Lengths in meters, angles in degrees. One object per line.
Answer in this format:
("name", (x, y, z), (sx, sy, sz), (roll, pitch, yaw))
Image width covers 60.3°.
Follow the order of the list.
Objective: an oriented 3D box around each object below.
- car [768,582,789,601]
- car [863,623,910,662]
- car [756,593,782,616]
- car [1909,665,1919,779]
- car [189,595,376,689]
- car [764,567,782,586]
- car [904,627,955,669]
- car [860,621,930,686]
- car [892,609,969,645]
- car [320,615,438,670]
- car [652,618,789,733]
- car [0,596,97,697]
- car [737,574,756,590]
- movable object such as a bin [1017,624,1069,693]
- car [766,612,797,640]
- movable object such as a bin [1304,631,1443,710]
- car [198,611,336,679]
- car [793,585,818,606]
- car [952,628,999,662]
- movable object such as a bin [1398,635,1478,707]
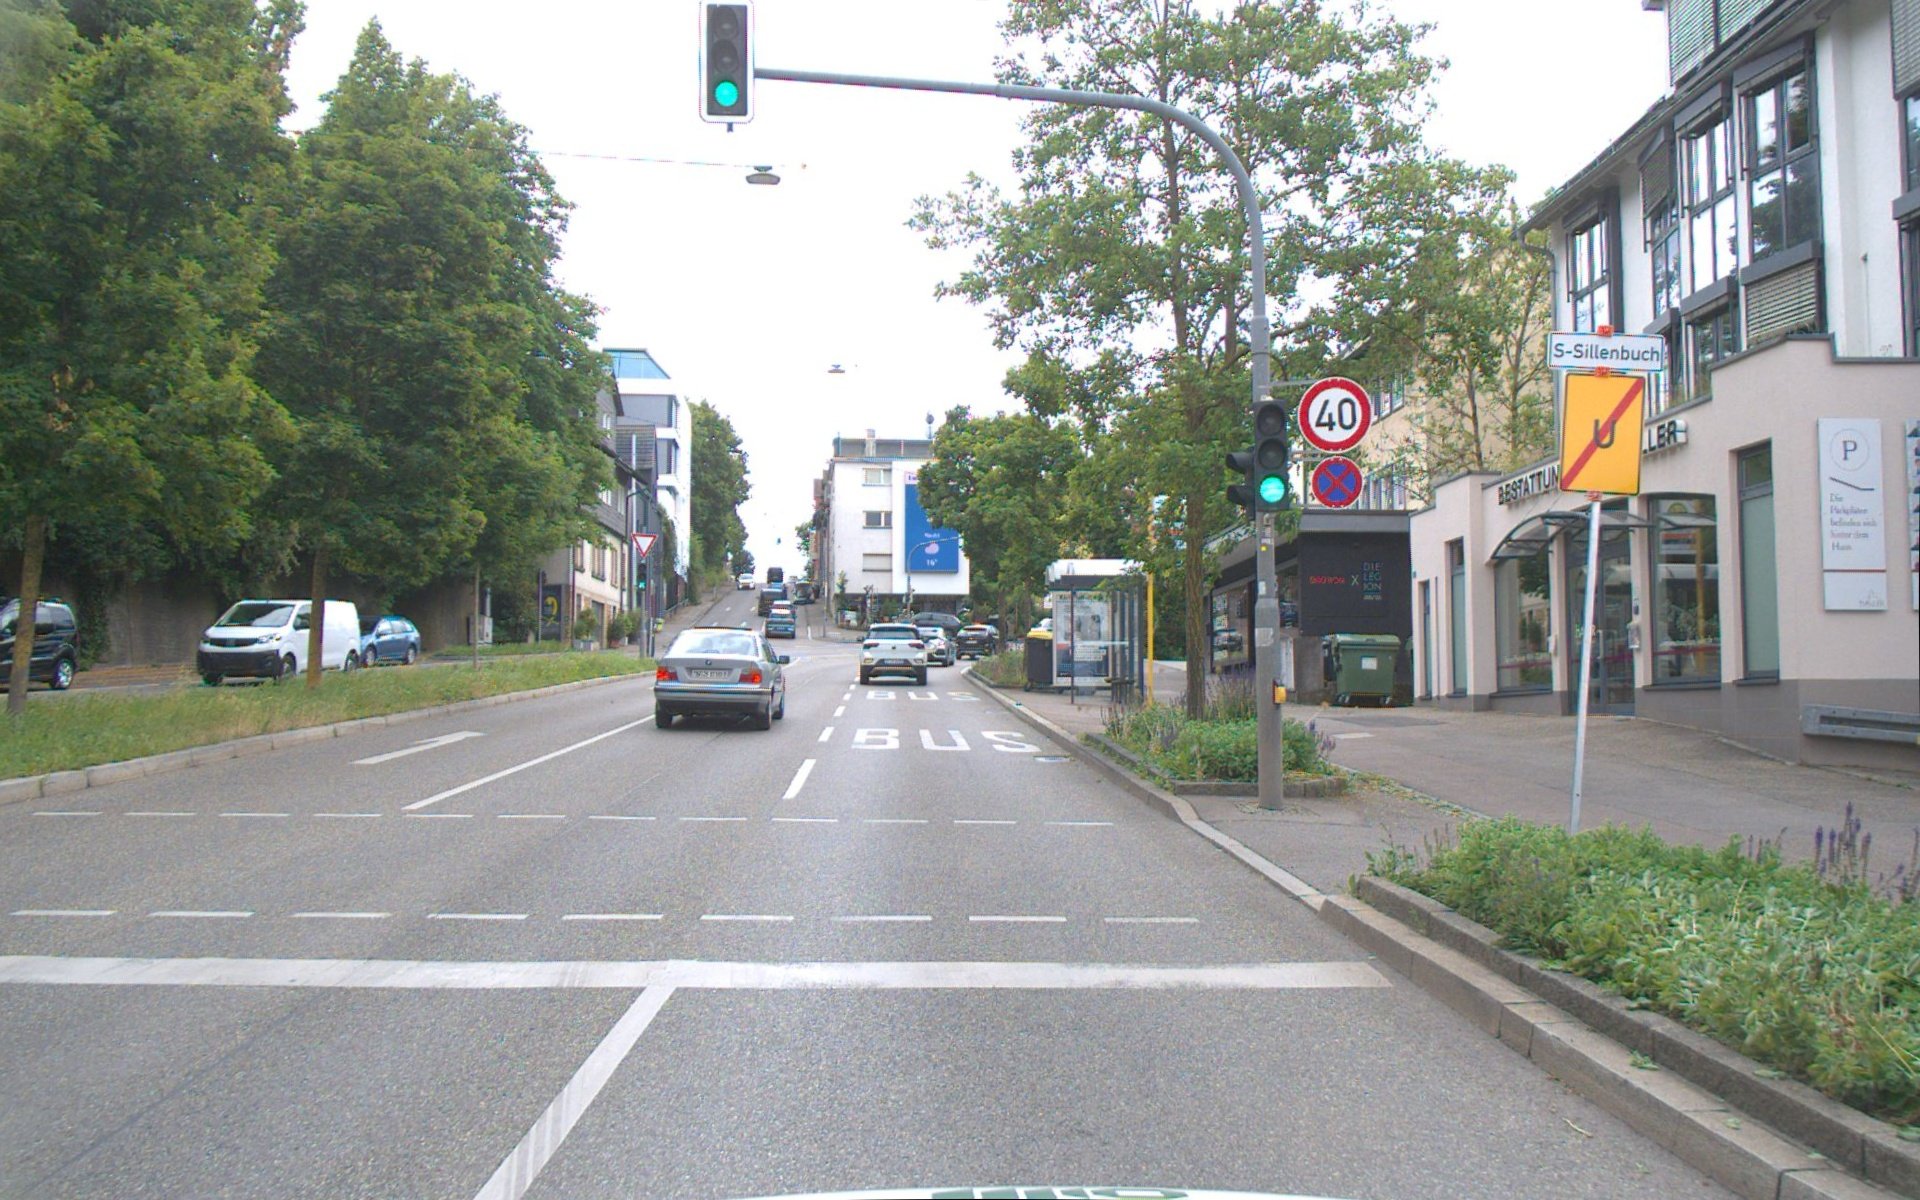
("car", (-16.215, -0.761, 147.851), (1.745, 1.607, 3.995), (1, -1, -6))
("car", (-3.154, 1.806, 71.402), (1.743, 1.607, 4.000), (1, -1, 1))
("car", (-13.858, 0.322, 120.098), (1.745, 1.607, 3.995), (1, -1, -6))
("car", (10.940, 1.177, 15.628), (2.935, 1.489, 1.664), (6, 0, -8))
("car", (-15.499, 0.932, 38.189), (1.897, 1.992, 5.024), (1, -1, 4))
("car", (-21.586, -2.690, 190.802), (1.955, 2.049, 3.995), (2, -1, -6))
("car", (-1.176, 1.755, 61.814), (1.744, 1.434, 3.997), (2, -1, -3))
("car", (-1.721, 1.369, 43.478), (1.744, 1.607, 3.997), (1, -1, -3))
("car", (-1.881, 1.703, 104.321), (4.599, 1.741, 2.316), (5, 2, -6))
("car", (-17.572, 1.265, 50.229), (1.676, 1.555, 4.304), (1, -1, 6))
("car", (-3.427, 1.036, 24.245), (1.673, 1.490, 3.996), (2, -1, -4))
("car", (-18.675, 0.857, 31.737), (1.743, 1.875, 4.488), (1, -1, 1))
("car", (-21.965, -1.876, 170.007), (1.846, 1.595, 4.384), (0, 2, -6))
("movable object such as a bin", (1.858, 1.296, 37.278), (1.063, 1.507, 1.536), (1, -1, -1))
("car", (-10.461, 1.505, 97.285), (1.745, 1.607, 3.995), (2, -1, -6))
("movable object such as a bin", (8.403, 1.407, 33.941), (1.850, 1.477, 3.999), (1, -1, 0))
("car", (-18.274, 1.158, 43.841), (1.743, 1.657, 4.171), (1, -1, 2))
("car", (-12.970, -0.352, 138.784), (2.048, 1.641, 3.996), (1, -1, -5))
("car", (0.729, 1.982, 73.959), (1.756, 1.434, 4.002), (1, -1, 5))
("movable object such as a bin", (9.785, 1.446, 33.911), (1.313, 1.434, 1.127), (1, -1, 0))
